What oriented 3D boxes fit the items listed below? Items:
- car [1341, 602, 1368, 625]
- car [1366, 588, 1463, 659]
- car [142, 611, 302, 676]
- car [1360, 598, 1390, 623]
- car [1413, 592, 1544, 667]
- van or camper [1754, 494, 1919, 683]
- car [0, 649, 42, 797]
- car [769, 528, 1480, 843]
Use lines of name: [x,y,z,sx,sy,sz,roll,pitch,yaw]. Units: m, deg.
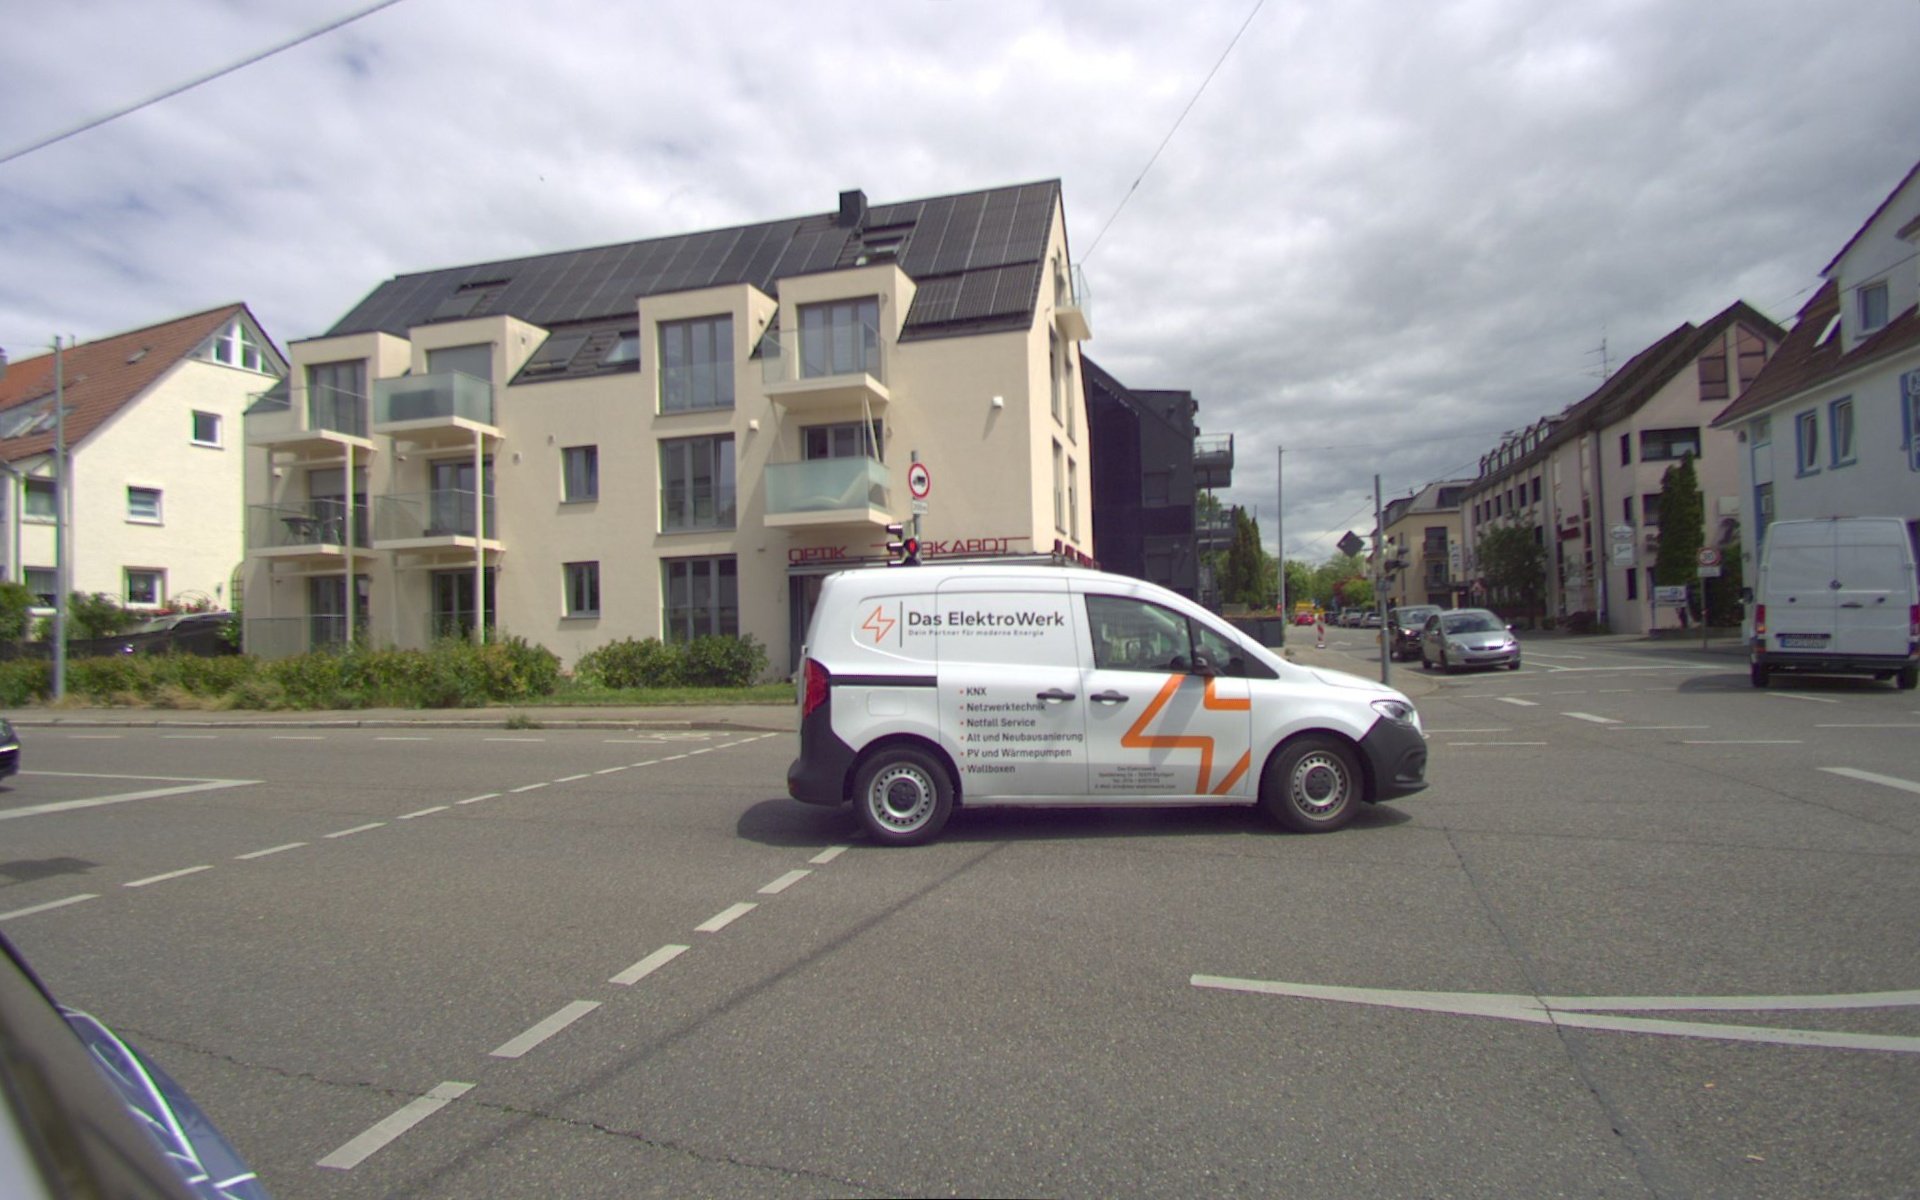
car: [37.393,1.292,95.994,1.982,2.029,3.979,-2,-1,16]
car: [14.130,0.712,31.703,1.980,2.029,3.983,-2,-1,13]
car: [-25.051,1.430,34.520,1.985,2.029,3.973,-2,-1,20]
car: [35.878,0.904,87.574,1.983,2.029,3.978,-2,-1,17]
car: [12.918,0.712,25.475,1.981,1.697,3.982,-2,-1,14]
van or camper: [14.432,-0.198,16.564,2.112,2.606,5.571,-2,0,39]
car: [-11.103,1.236,9.869,4.021,1.374,1.800,-2,-1,25]
car: [1.006,0.554,7.209,4.357,1.825,1.821,-2,-1,1]
